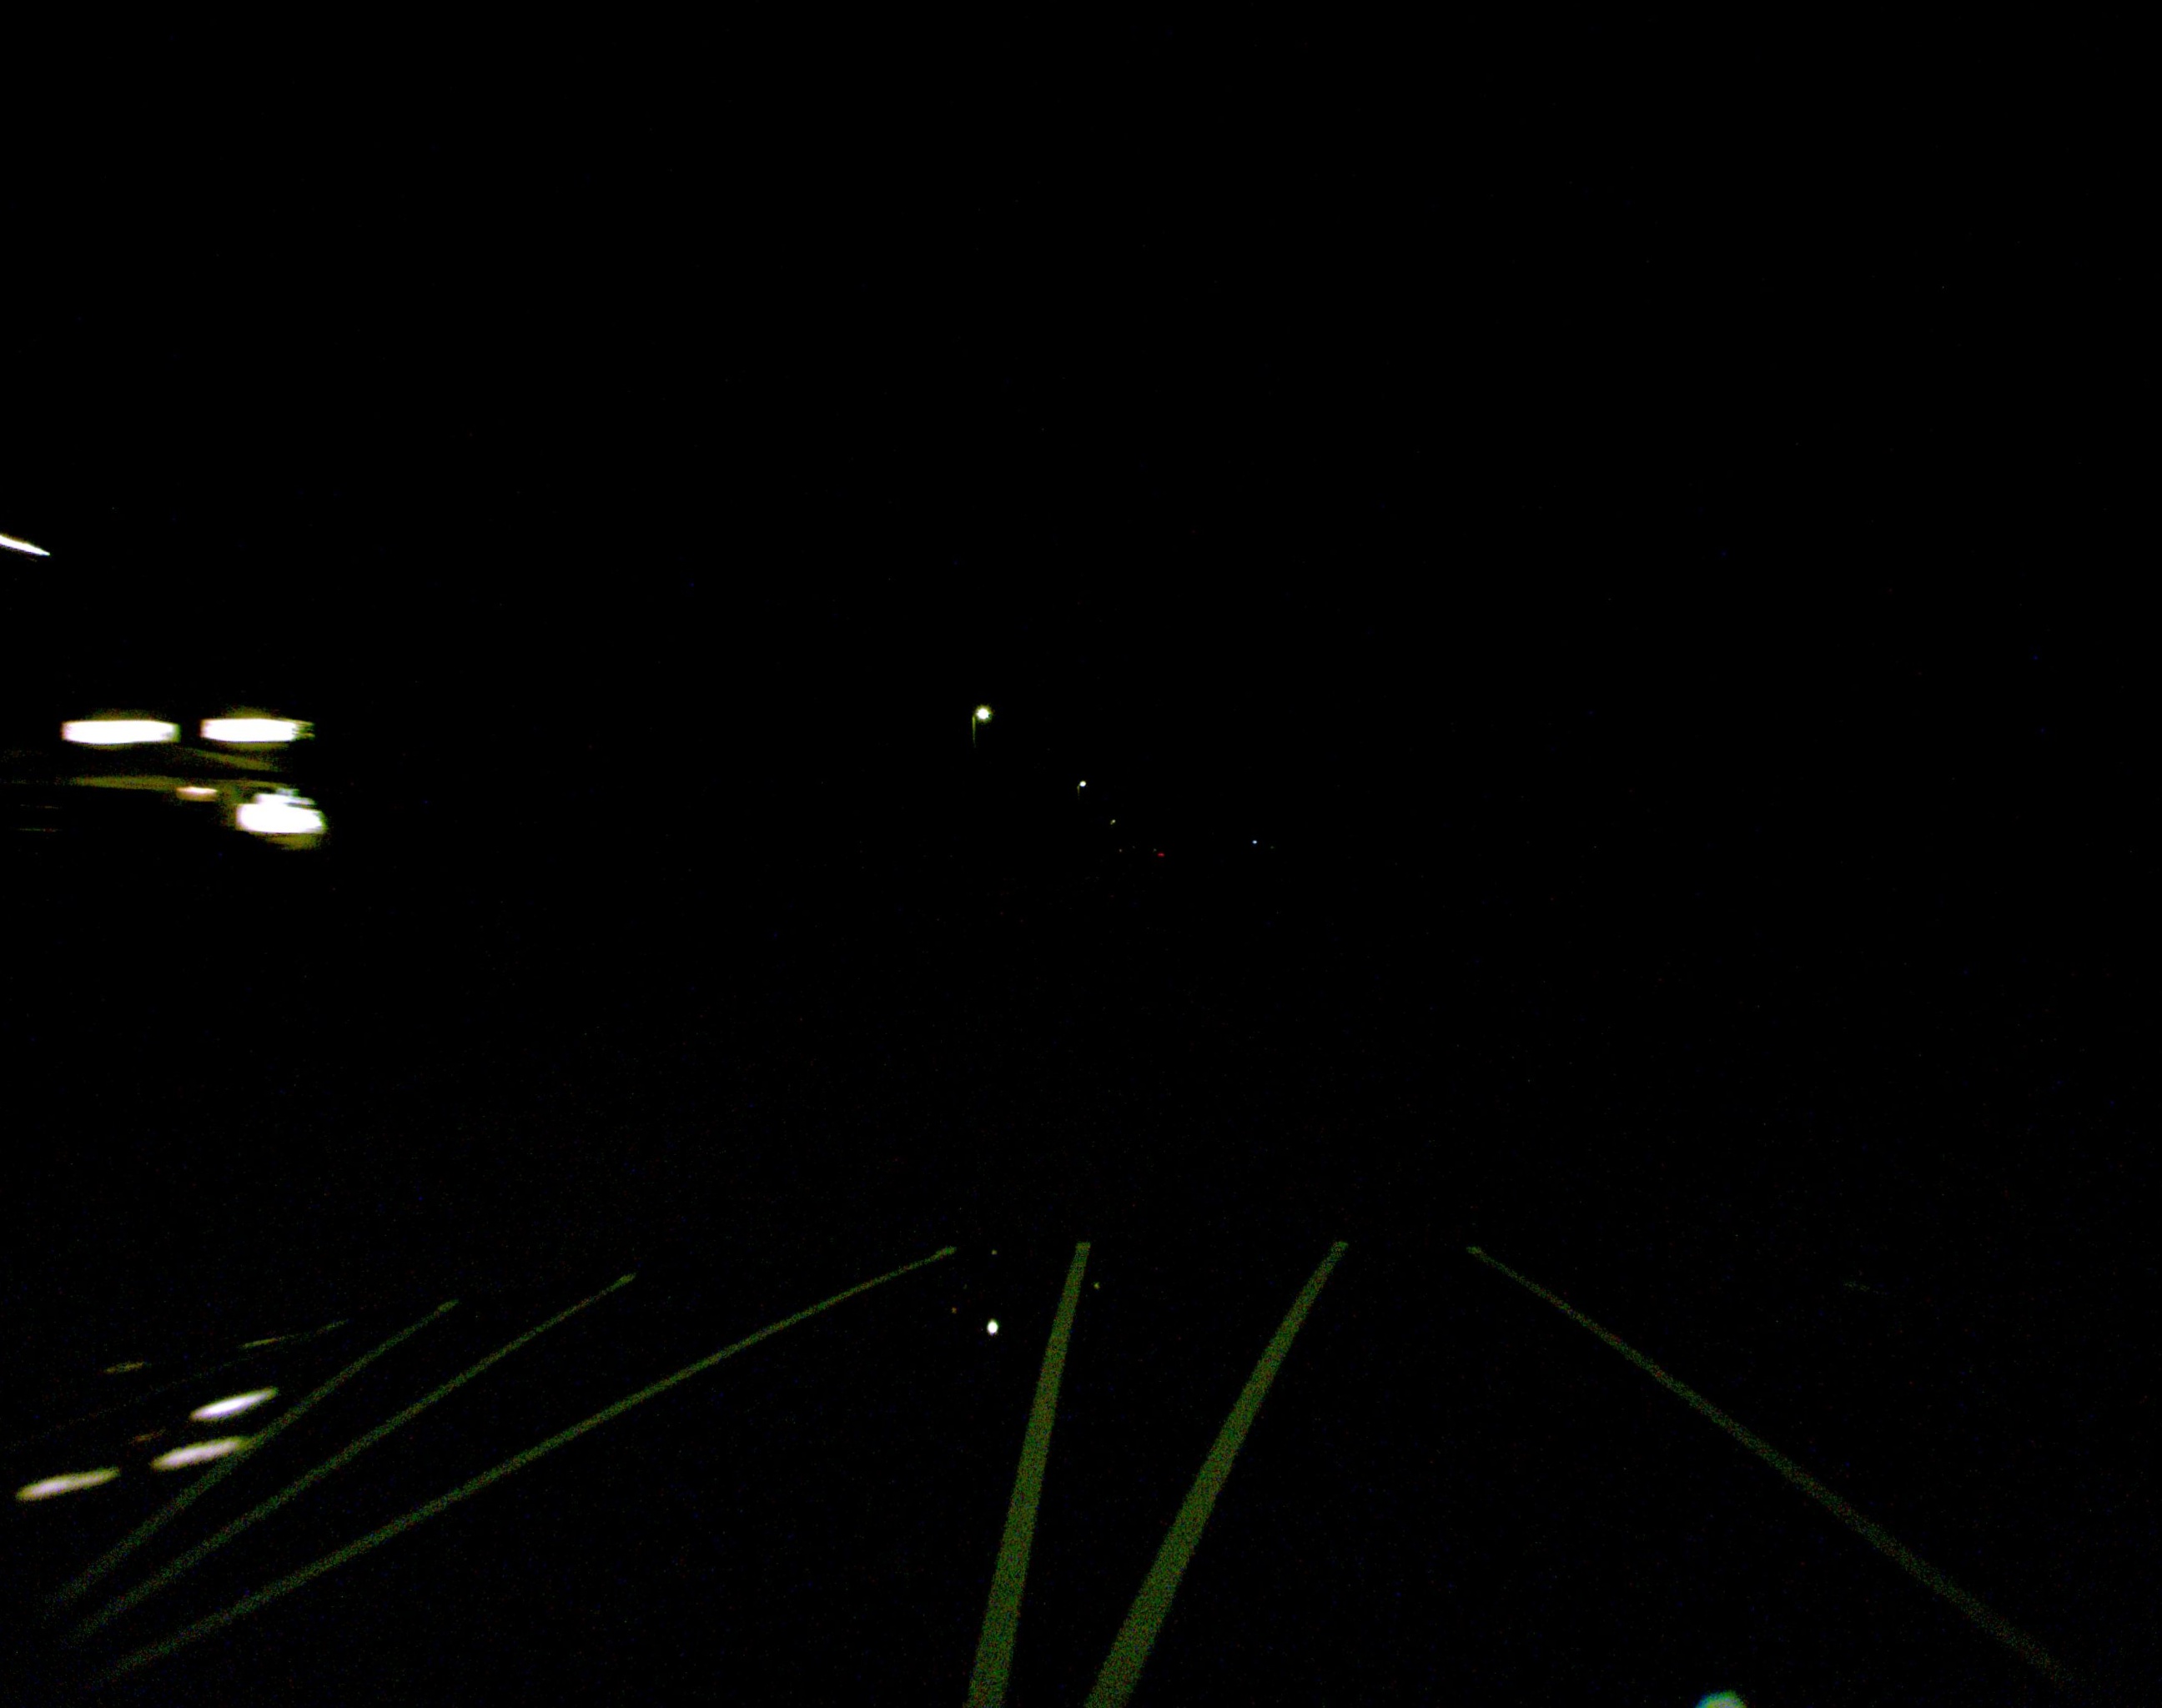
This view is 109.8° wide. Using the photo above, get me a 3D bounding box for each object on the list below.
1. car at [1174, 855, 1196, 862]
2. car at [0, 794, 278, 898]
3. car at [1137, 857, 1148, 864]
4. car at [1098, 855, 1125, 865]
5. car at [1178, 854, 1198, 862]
[{"bbox_3d":[22.266,0.994,163.104,4.326,1.552,2.028,0,-1,-9],"label":"car"},{"bbox_3d":[-19.493,-0.164,15.396,1.955,1.827,4.115,1,0,3],"label":"car"},{"bbox_3d":[12.819,1.359,159.051,1.754,1.460,4.008,-1,-1,-3],"label":"car"},{"bbox_3d":[4.130,0.864,102.502,3.401,1.224,1.724,2,-1,-4],"label":"car"},{"bbox_3d":[22.651,0.870,160.450,3.997,1.608,2.000,-1,-1,1],"label":"car"}]
